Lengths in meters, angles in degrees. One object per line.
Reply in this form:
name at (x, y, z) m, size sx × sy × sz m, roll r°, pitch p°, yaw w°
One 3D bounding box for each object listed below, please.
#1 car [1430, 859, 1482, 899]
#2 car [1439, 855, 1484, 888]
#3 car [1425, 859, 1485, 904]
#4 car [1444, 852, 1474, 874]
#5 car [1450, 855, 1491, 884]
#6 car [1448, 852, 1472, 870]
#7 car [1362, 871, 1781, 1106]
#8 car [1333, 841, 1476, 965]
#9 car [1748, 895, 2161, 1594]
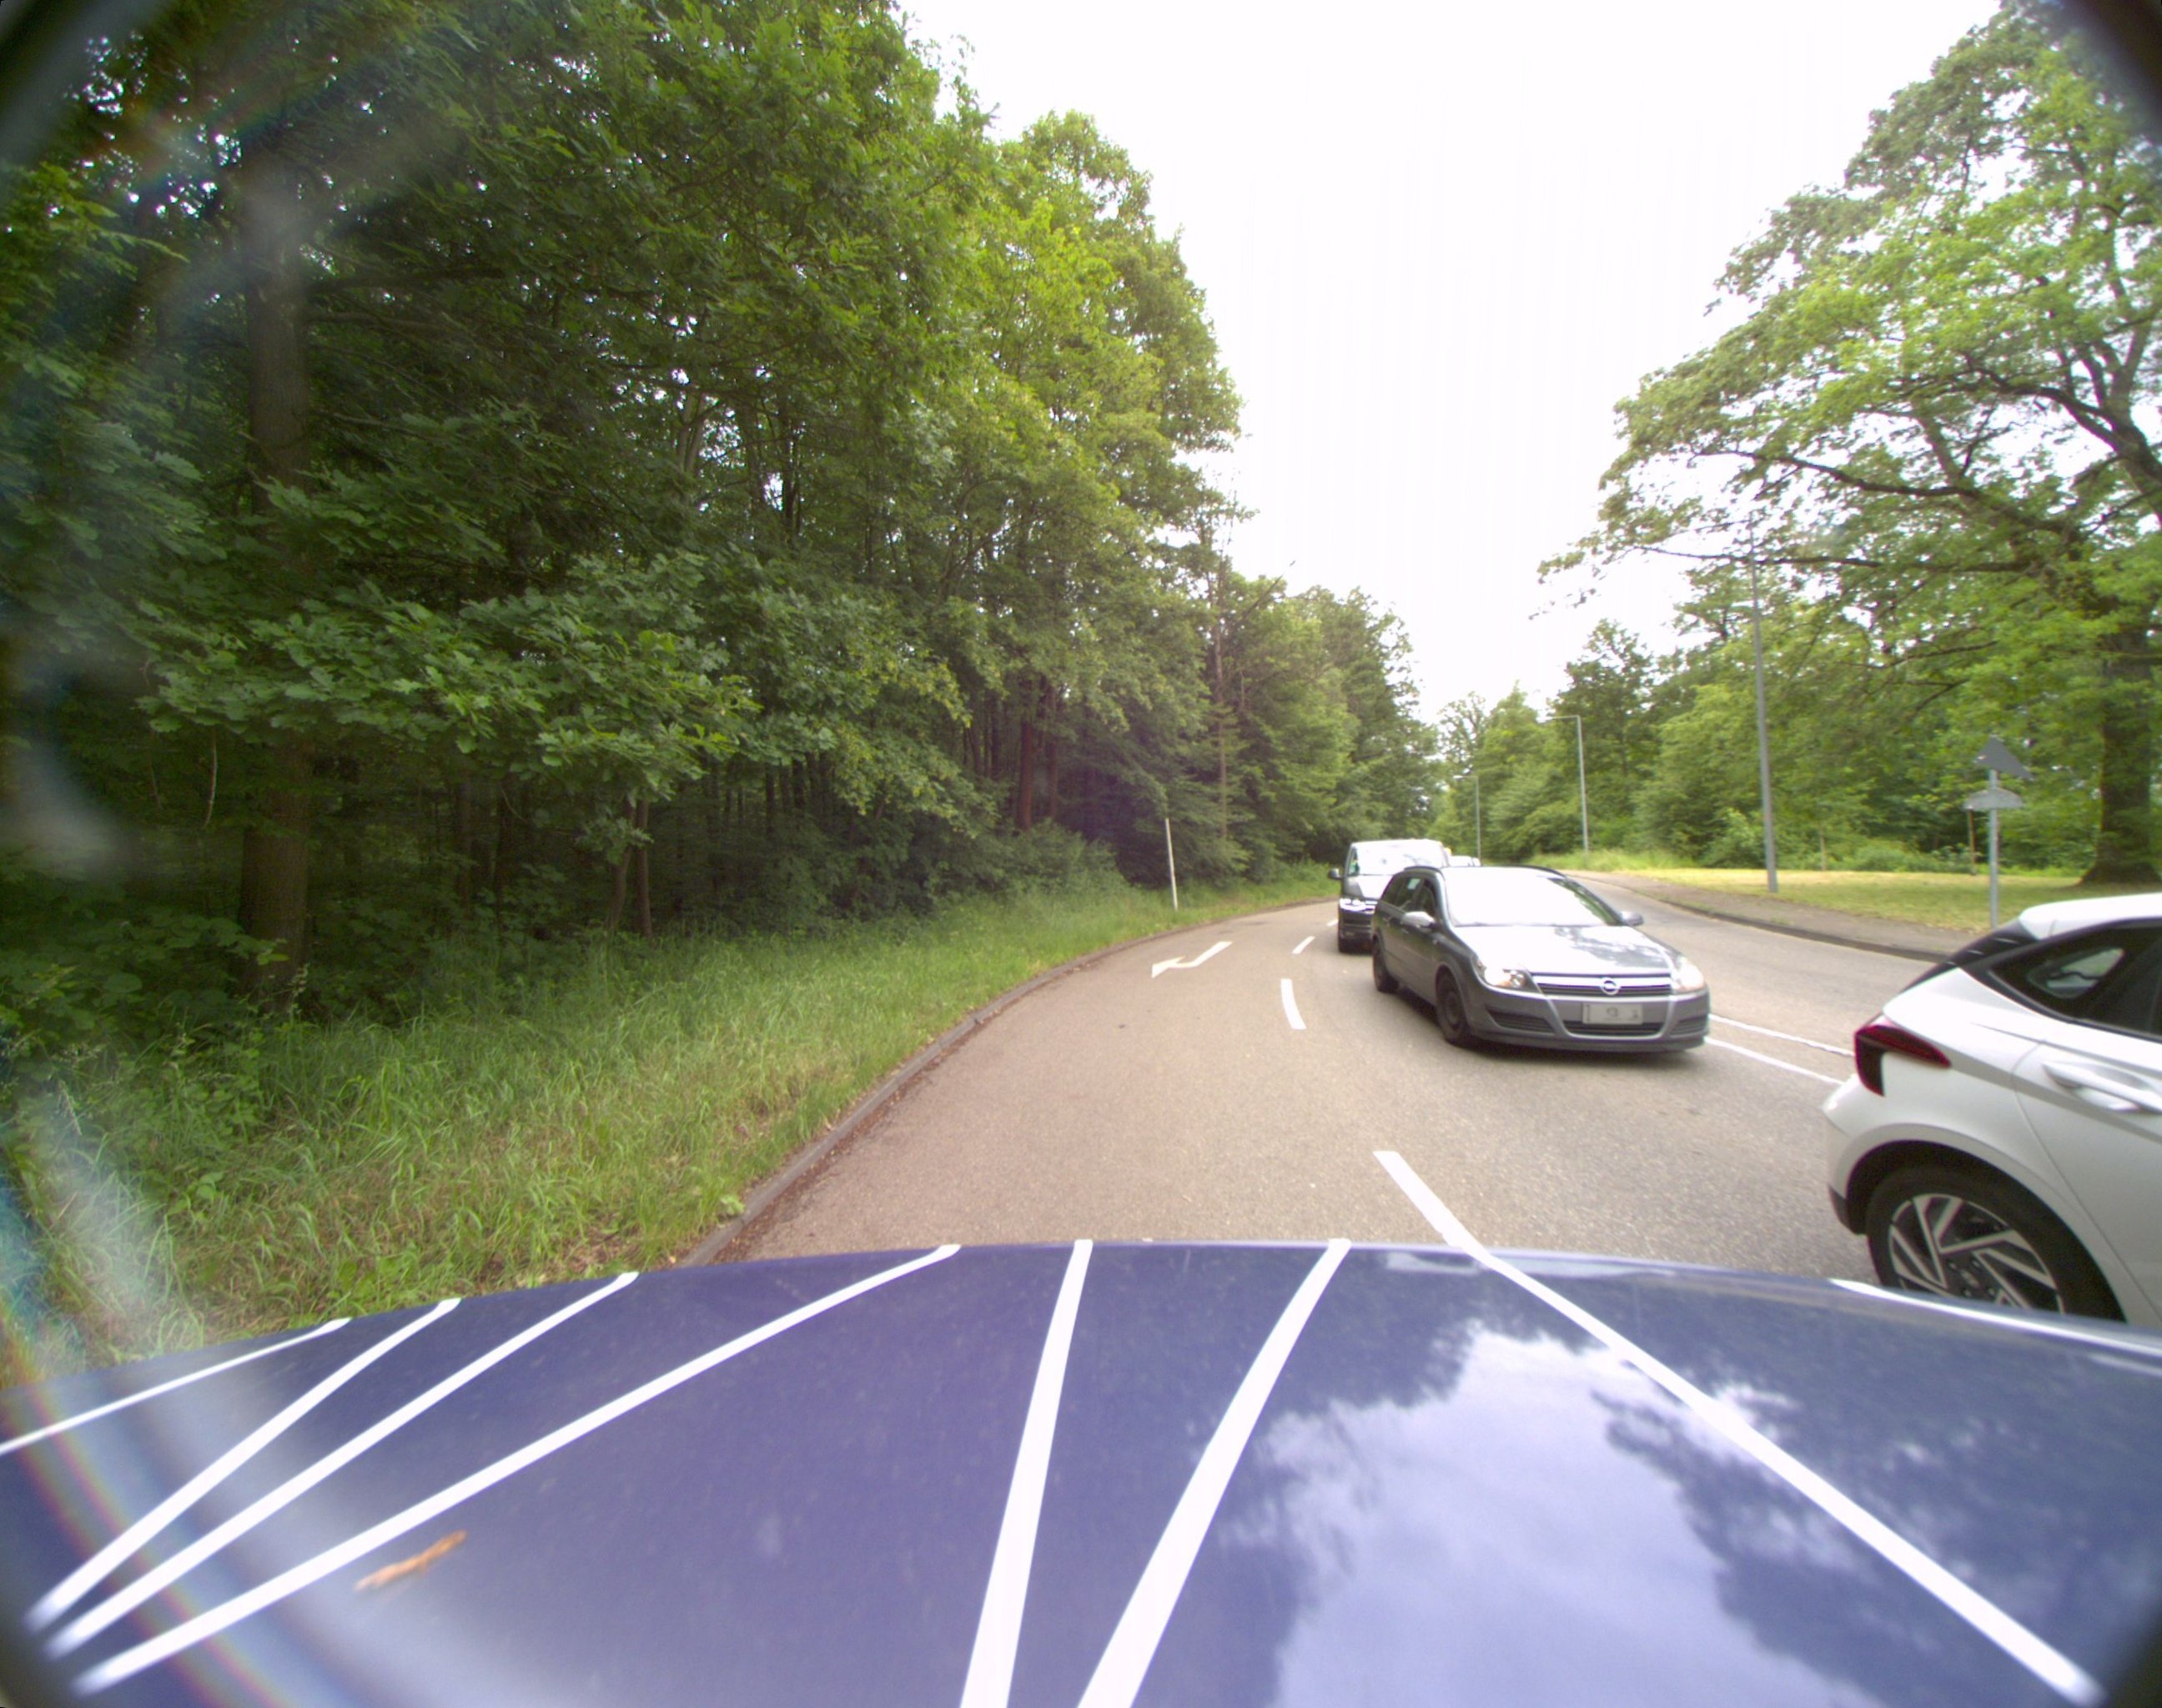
car at (15.211, 0.989, 30.949) m, size 1.775 × 1.490 × 3.880 m, roll -2°, pitch -1°, yaw 25°
car at (18.119, 0.817, 36.296) m, size 1.775 × 1.490 × 3.880 m, roll -2°, pitch -1°, yaw 25°
car at (13.325, 0.945, 27.172) m, size 1.775 × 1.490 × 3.880 m, roll -2°, pitch -1°, yaw 25°
car at (27.434, 0.657, 55.064) m, size 1.775 × 1.490 × 3.880 m, roll -2°, pitch -1°, yaw 28°
car at (20.963, 0.813, 41.021) m, size 1.775 × 1.490 × 3.880 m, roll -2°, pitch -1°, yaw 25°
car at (34.179, 0.625, 68.470) m, size 1.775 × 1.490 × 3.880 m, roll -2°, pitch -1°, yaw 28°
car at (4.051, 0.943, 7.287) m, size 1.801 × 1.470 × 4.474 m, roll -1°, pitch -1°, yaw 11°
car at (5.750, 0.769, 13.830) m, size 1.987 × 1.861 × 4.539 m, roll -1°, pitch -1°, yaw 21°
car at (3.147, 0.867, 0.665) m, size 1.653 × 1.470 × 4.074 m, roll -1°, pitch -1°, yaw 3°
